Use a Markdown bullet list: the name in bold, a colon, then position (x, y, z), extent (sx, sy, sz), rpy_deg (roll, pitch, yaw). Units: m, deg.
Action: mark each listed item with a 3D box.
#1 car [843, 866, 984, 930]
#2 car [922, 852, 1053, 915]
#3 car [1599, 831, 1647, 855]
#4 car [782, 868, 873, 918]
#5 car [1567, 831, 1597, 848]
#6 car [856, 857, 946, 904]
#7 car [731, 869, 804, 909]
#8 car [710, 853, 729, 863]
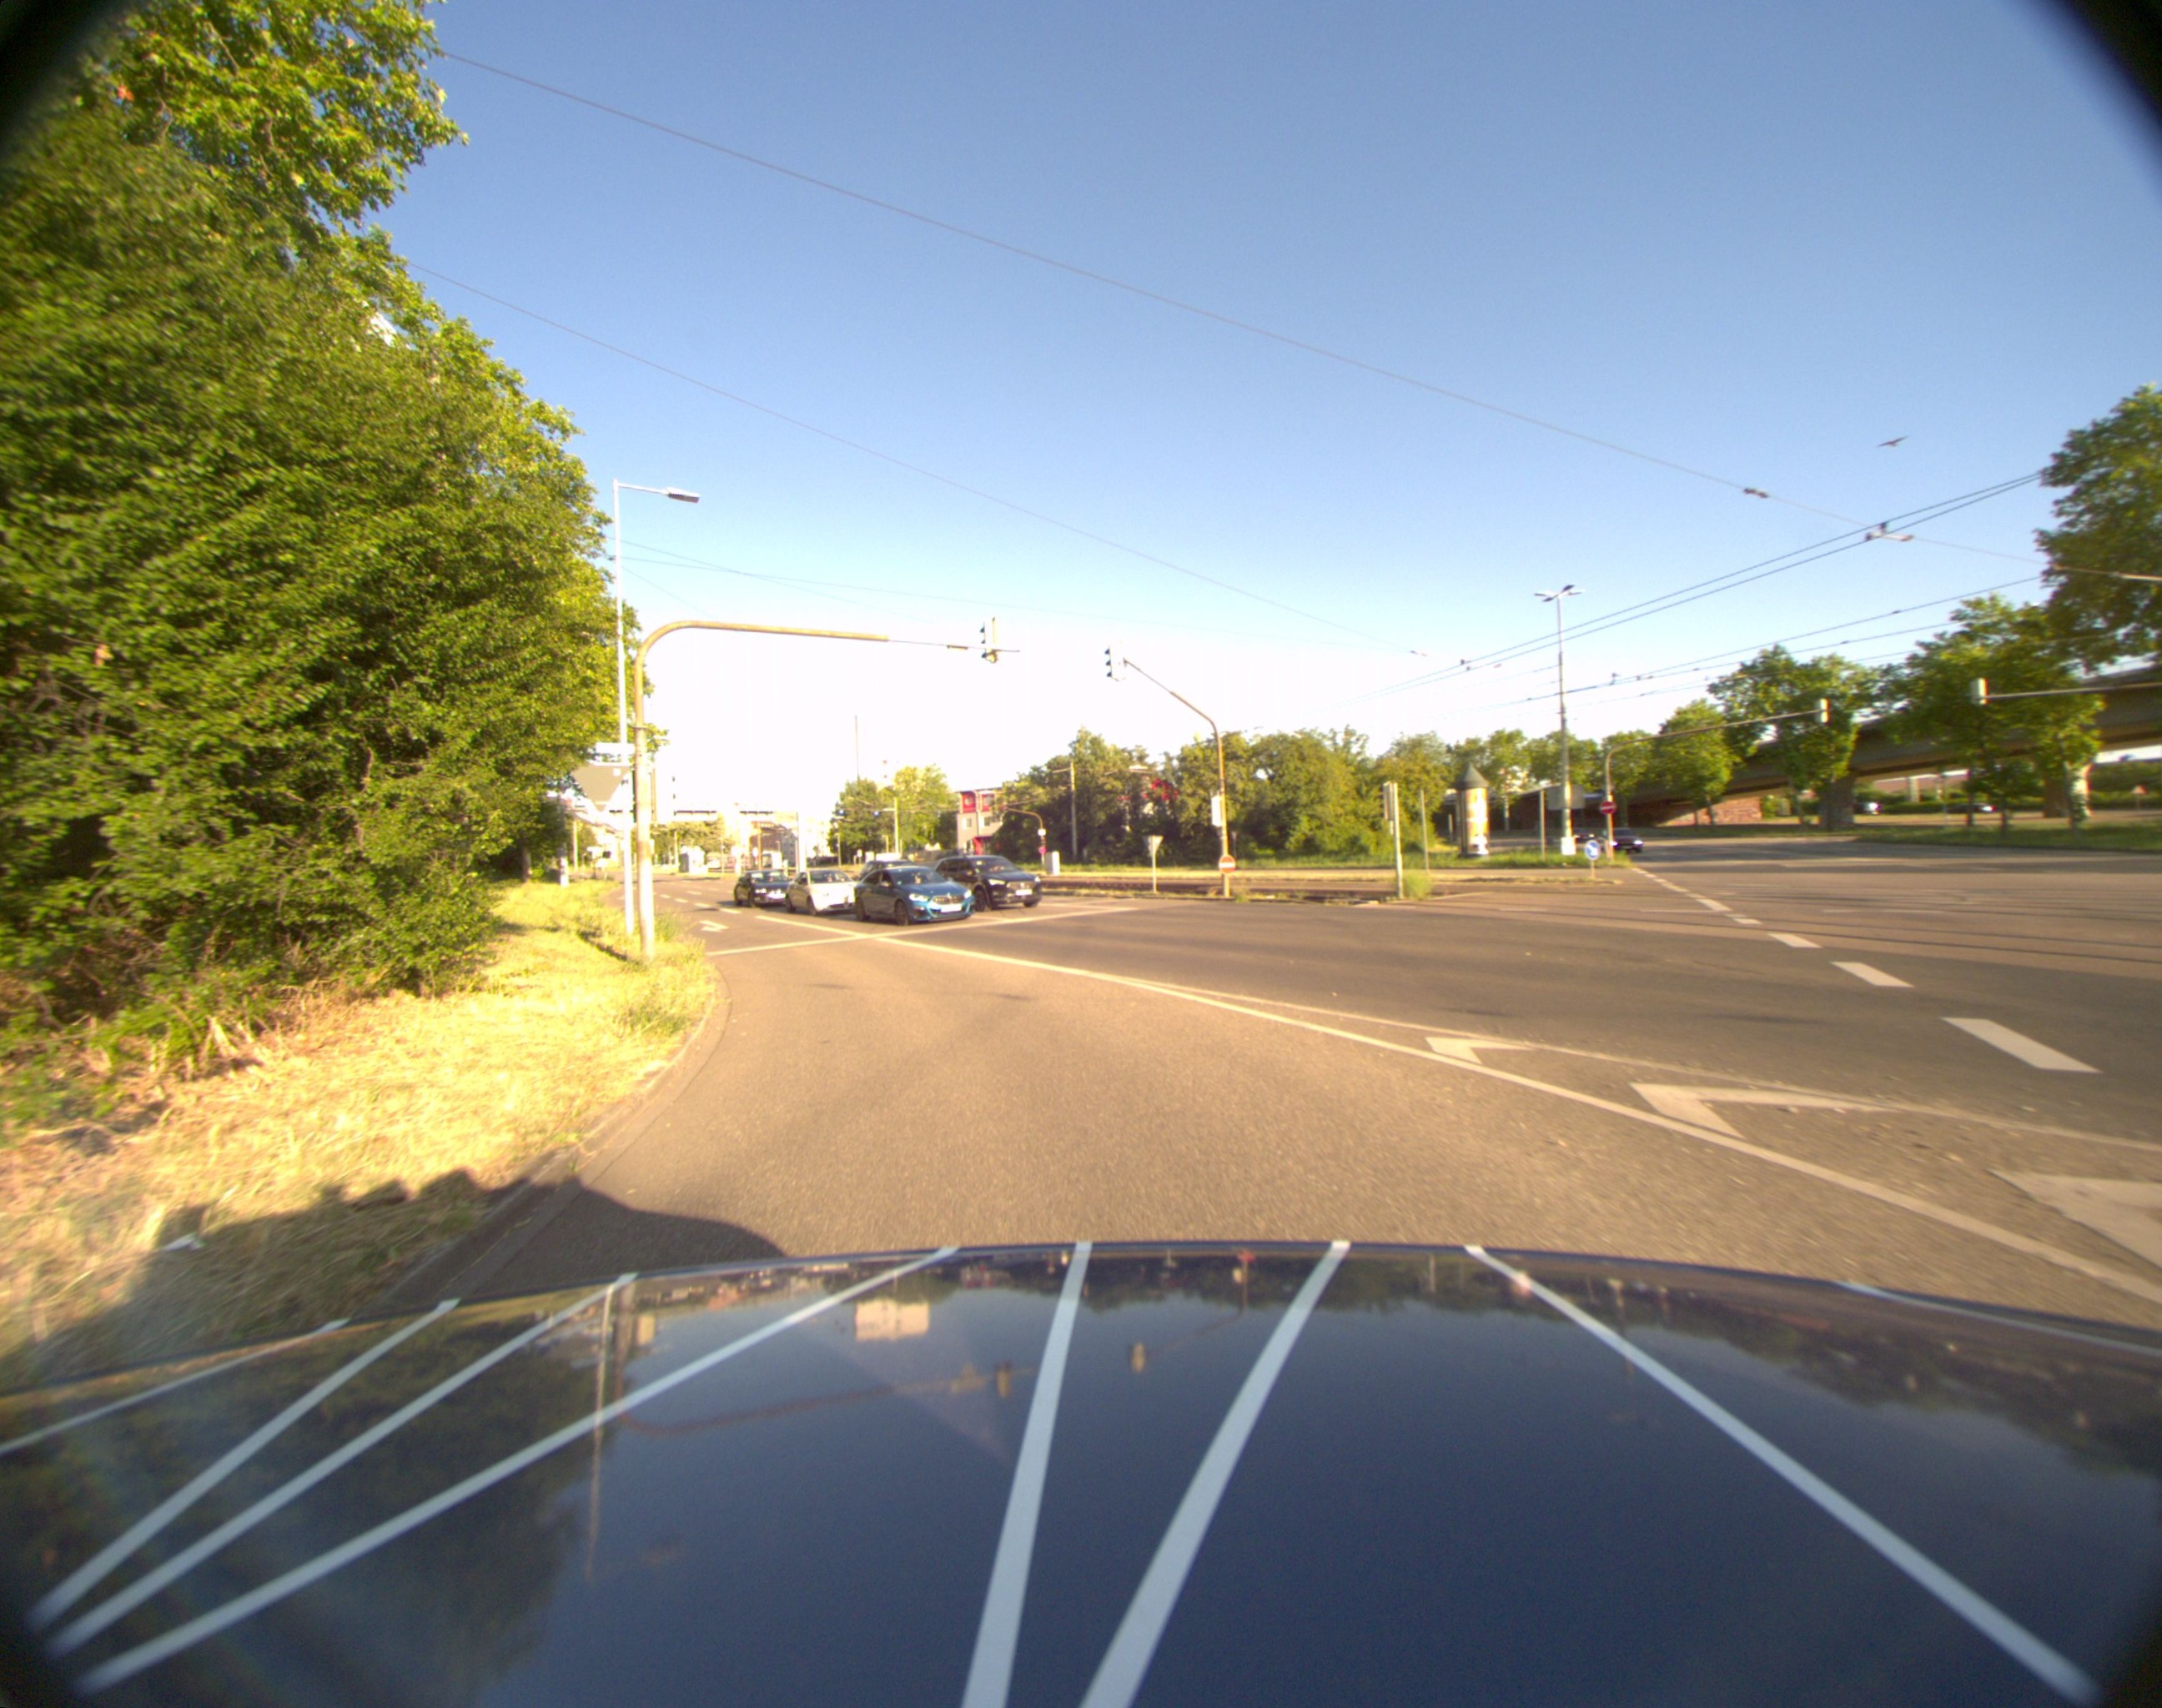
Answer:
- **car**: position (-4.492, 1.069, 19.861), extent (1.793, 1.409, 4.501), rpy_deg (-3, 1, -38)
- **car**: position (-2.969, 0.849, 23.204), extent (1.925, 1.671, 4.590), rpy_deg (-3, 1, -36)
- **car**: position (36.496, -0.709, 51.242), extent (1.995, 1.477, 4.007), rpy_deg (-2, -1, 26)
- **car**: position (-8.406, 1.228, 25.004), extent (1.669, 1.422, 3.914), rpy_deg (-3, 1, -36)
- **car**: position (50.626, -1.448, 76.853), extent (1.995, 1.477, 4.007), rpy_deg (-2, -1, 25)
- **car**: position (-7.141, 1.000, 29.771), extent (1.925, 1.639, 4.590), rpy_deg (-3, 1, -33)
- **car**: position (-12.645, 1.368, 30.520), extent (1.786, 1.422, 3.914), rpy_deg (-3, 1, -36)
- **car**: position (-73.184, 0.787, 153.878), extent (1.999, 2.002, 3.998), rpy_deg (-3, 1, -3)
